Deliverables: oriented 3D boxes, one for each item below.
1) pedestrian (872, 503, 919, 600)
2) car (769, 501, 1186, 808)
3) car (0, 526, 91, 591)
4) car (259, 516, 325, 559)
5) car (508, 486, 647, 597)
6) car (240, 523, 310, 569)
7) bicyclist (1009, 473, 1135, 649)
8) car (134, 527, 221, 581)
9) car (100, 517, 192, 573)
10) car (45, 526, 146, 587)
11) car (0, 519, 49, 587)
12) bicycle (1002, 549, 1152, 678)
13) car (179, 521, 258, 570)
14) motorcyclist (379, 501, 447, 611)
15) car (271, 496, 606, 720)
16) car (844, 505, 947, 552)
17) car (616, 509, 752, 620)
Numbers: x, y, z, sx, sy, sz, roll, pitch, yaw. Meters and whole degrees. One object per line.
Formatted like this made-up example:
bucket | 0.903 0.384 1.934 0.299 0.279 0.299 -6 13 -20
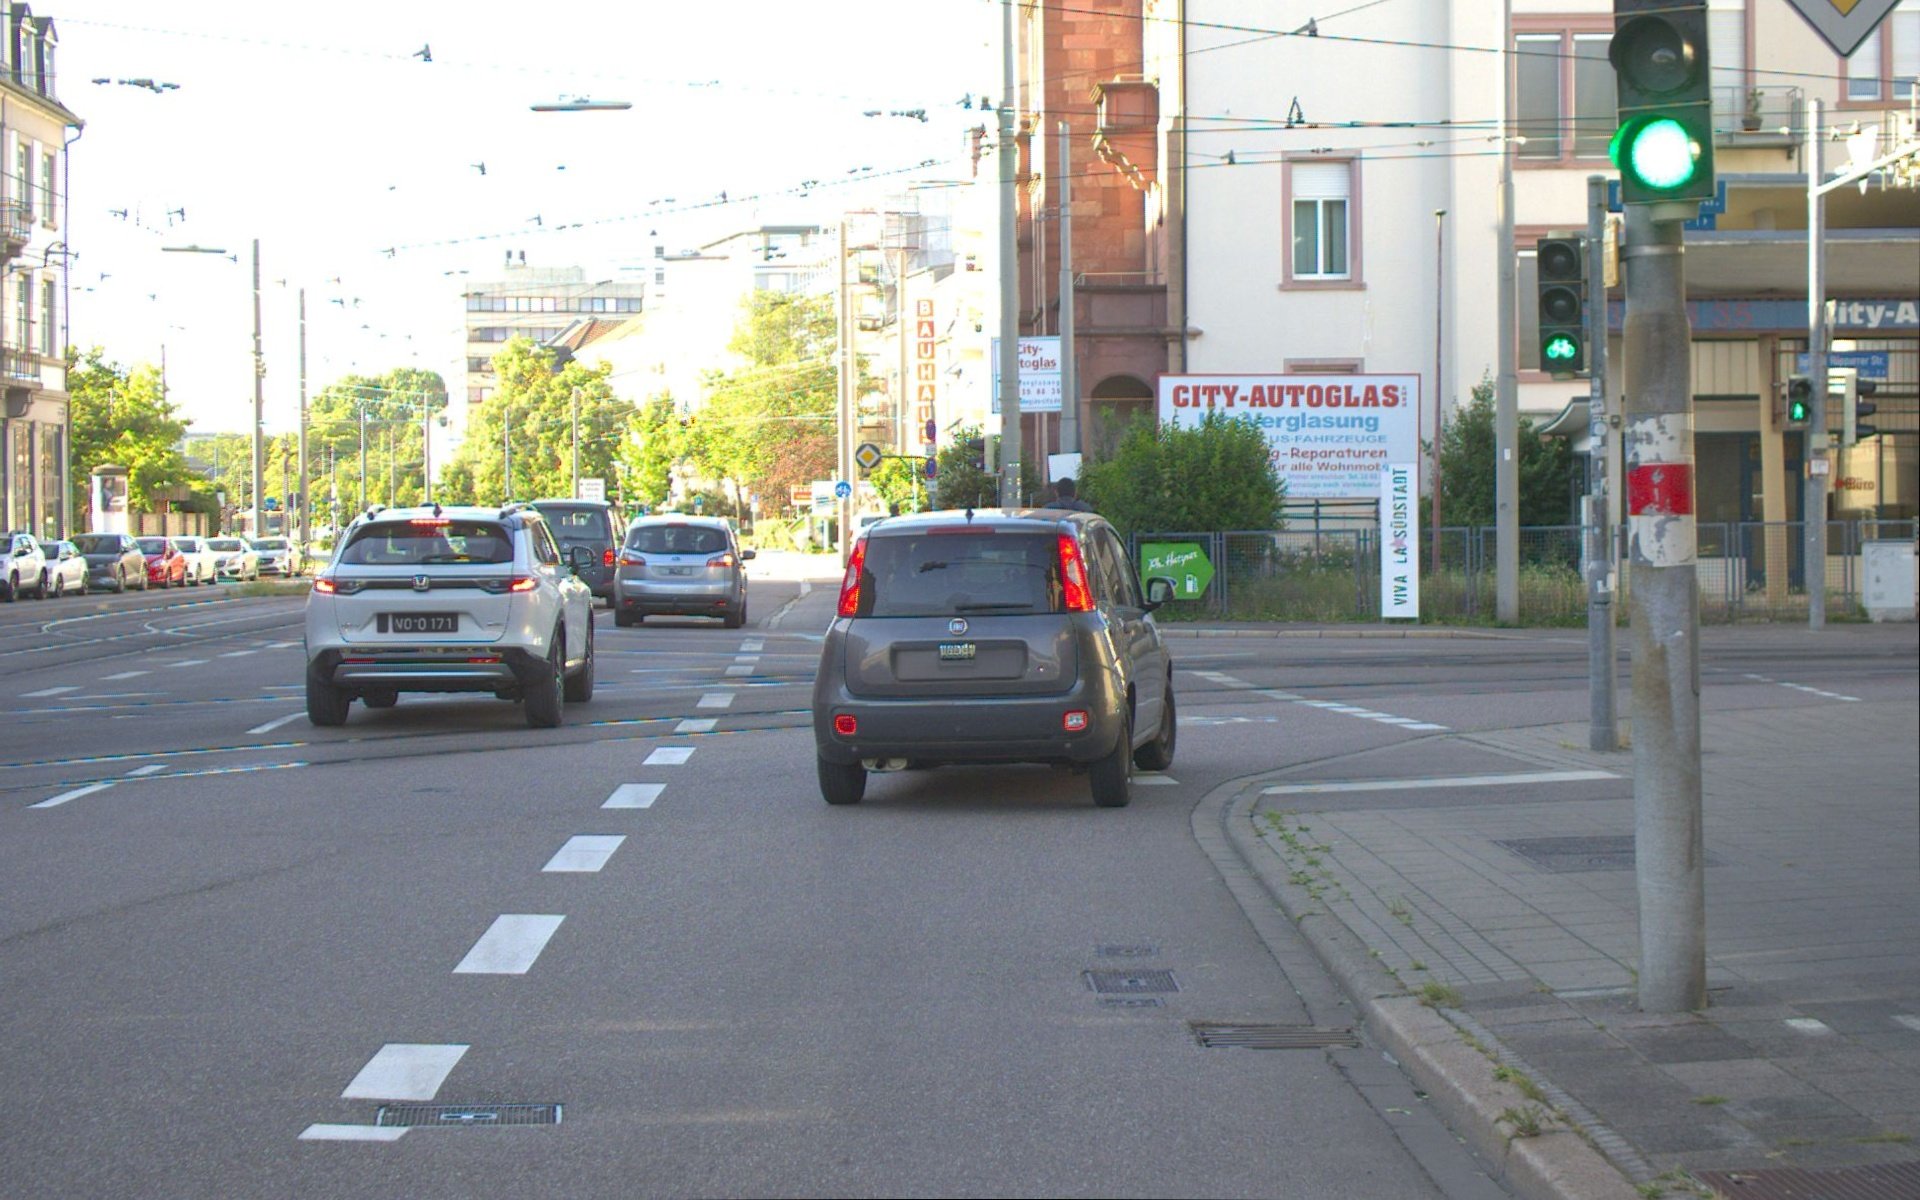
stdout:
pedestrian | -1.215 -0.923 65.075 0.875 1.818 1.184 0 1 0
car | 0.208 0.211 18.910 1.731 1.495 3.999 1 2 9
car | -23.052 -1.057 85.954 1.719 1.546 4.001 0 1 -1
car | -24.612 -2.330 126.841 1.719 1.546 4.001 0 1 -1
car | -7.147 -1.108 64.689 2.172 2.002 4.809 0 1 -1
car | -24.066 -1.919 120.842 1.719 1.546 4.001 0 1 -1
bicyclist | 0.985 -0.350 30.439 0.833 1.520 0.994 0 1 -18
car | -23.126 -1.385 101.733 1.719 1.546 4.000 0 1 -1
car | -22.940 -1.573 96.986 1.719 1.546 4.001 0 1 -1
car | -22.864 -1.168 91.033 1.719 1.546 4.001 0 1 -1
car | -22.861 -1.115 80.815 1.835 1.546 4.274 0 1 -1
bicycle | 1.017 0.099 30.396 0.770 1.082 1.871 0 1 -17
car | -23.697 -1.747 109.988 1.719 1.546 4.000 0 1 -1
motorcyclist | -7.154 -0.583 44.996 0.777 1.418 0.891 0 1 -2
car | -3.773 0.003 25.532 1.947 1.523 4.090 0 2 -1
car | -2.819 -3.112 149.750 4.257 2.007 2.001 0 1 -10
car | -4.059 -0.548 51.052 1.814 1.576 4.001 0 1 -2
